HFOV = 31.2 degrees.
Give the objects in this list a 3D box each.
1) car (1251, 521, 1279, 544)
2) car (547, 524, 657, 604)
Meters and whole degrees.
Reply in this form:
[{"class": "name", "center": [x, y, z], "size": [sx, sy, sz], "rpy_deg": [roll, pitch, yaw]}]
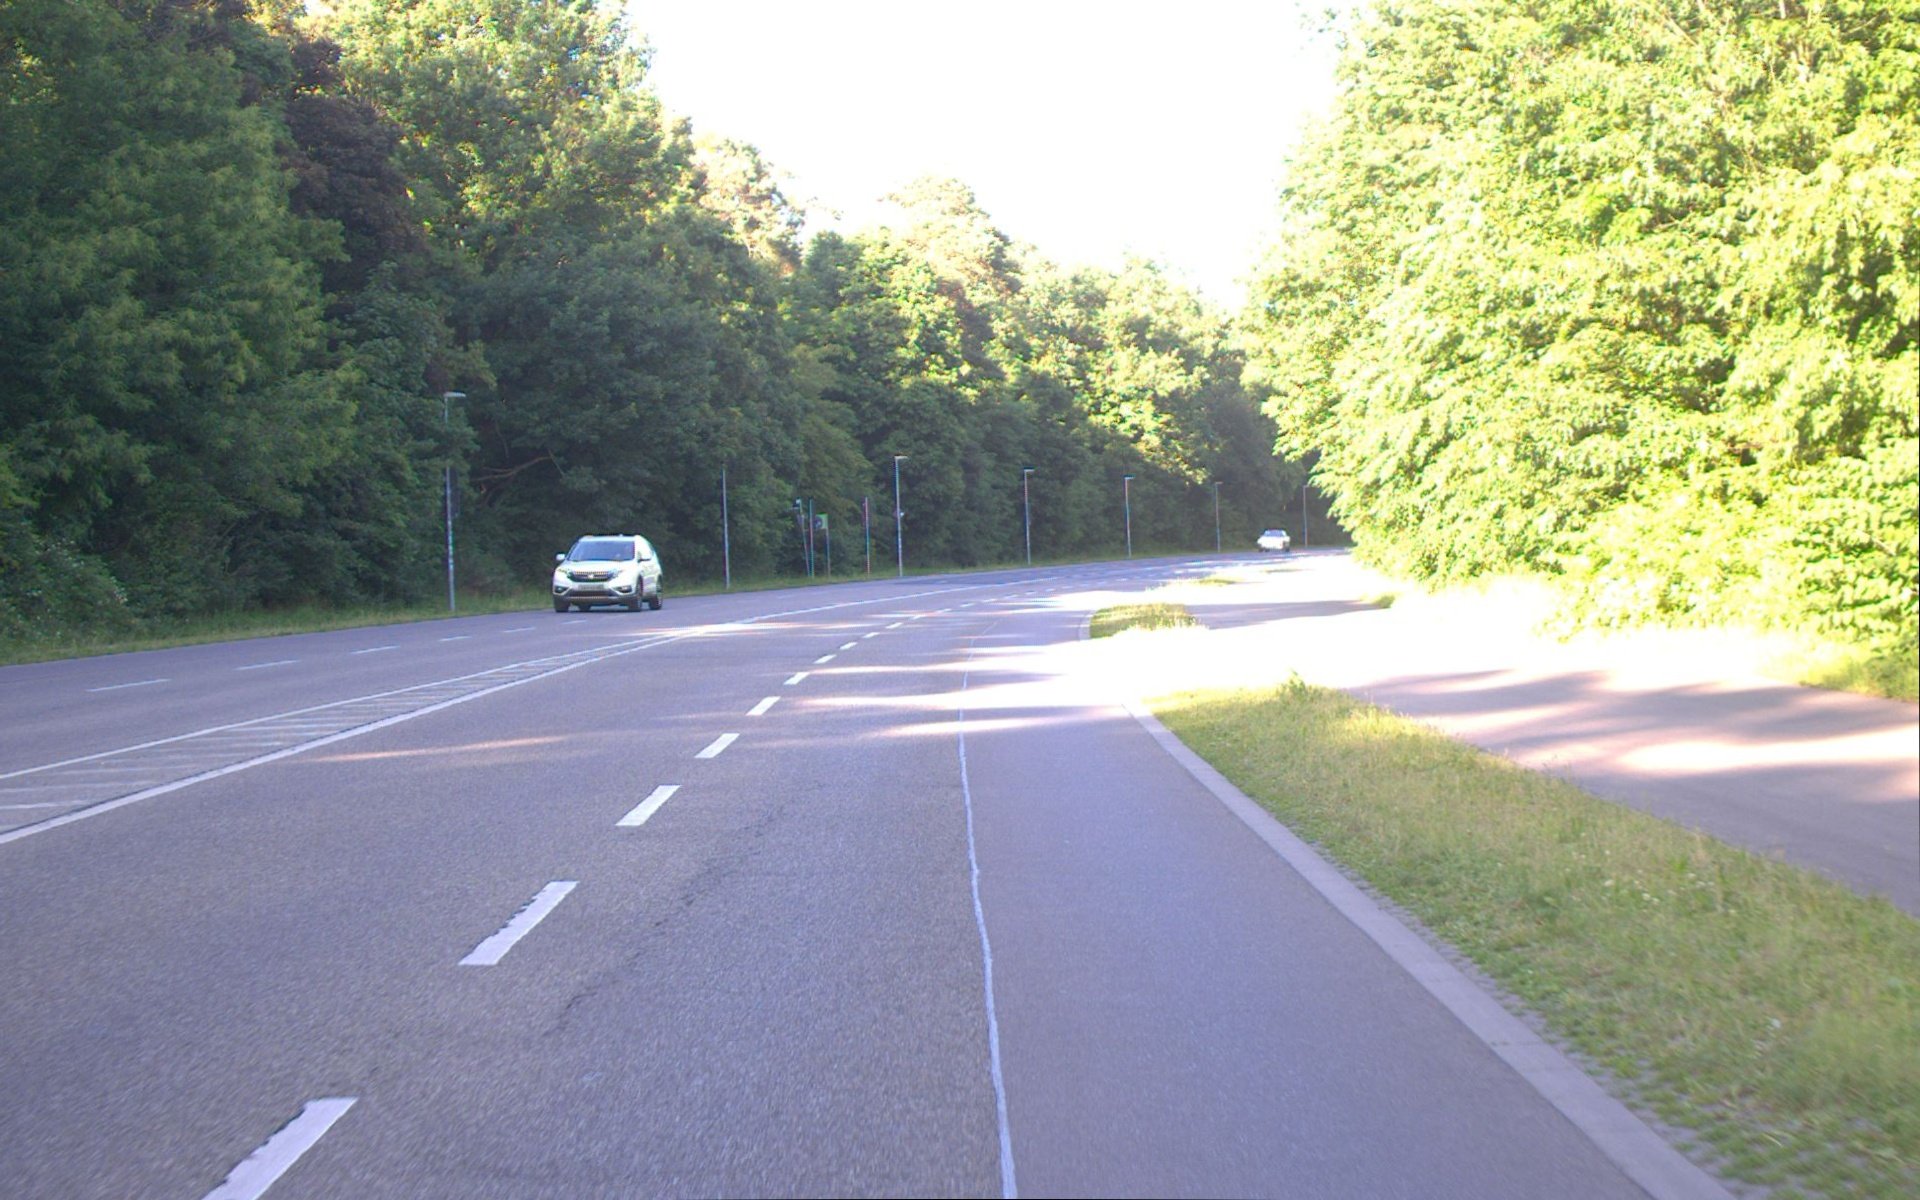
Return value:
[{"class": "car", "center": [22.439, -4.936, 253.032], "size": [1.994, 1.579, 3.999], "rpy_deg": [-1, 0, 4]}, {"class": "car", "center": [-7.753, -0.797, 74.795], "size": [1.908, 1.658, 4.734], "rpy_deg": [-1, 1, 0]}]
